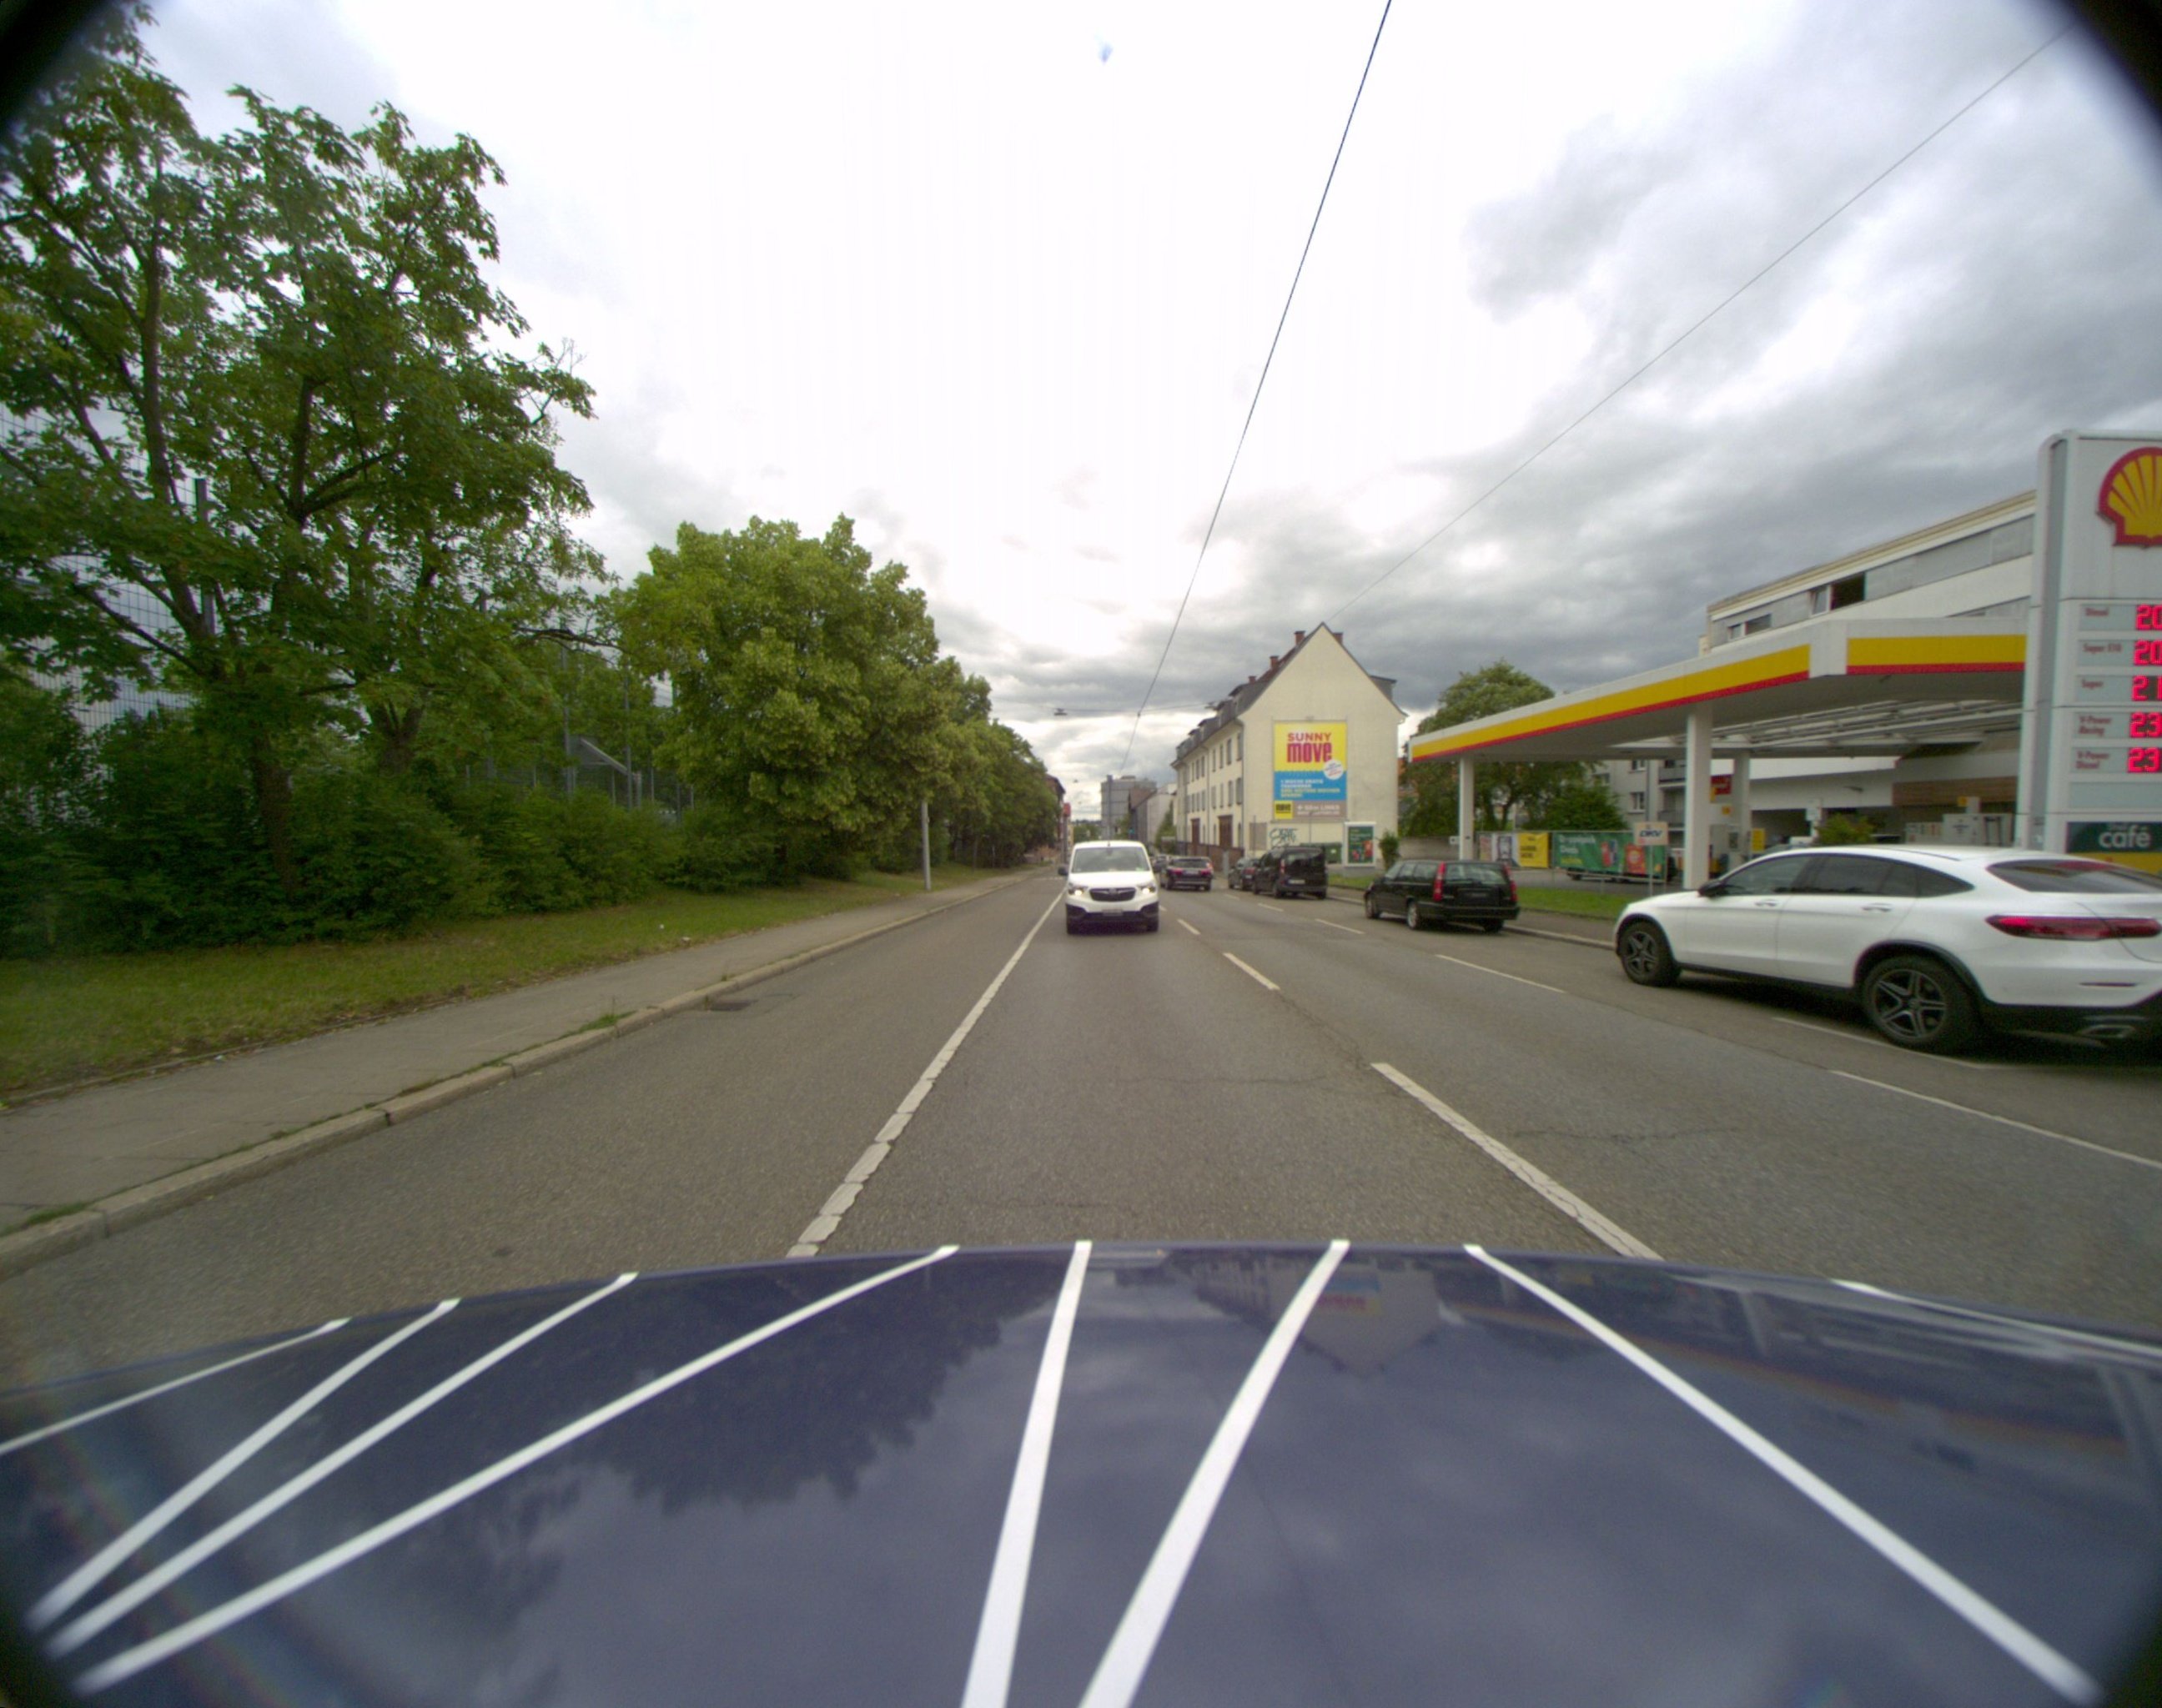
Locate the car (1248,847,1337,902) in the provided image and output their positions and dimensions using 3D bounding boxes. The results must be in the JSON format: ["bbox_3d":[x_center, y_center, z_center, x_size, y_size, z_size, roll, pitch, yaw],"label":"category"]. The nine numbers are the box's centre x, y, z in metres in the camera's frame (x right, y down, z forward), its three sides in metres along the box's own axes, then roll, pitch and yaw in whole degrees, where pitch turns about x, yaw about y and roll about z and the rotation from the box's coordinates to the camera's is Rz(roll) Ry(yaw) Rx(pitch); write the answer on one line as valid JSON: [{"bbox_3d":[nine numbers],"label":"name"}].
[{"bbox_3d":[7.593,0.691,27.794,1.856,1.824,4.701,1,0,-1],"label":"car"}]

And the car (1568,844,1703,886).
[{"bbox_3d":[20.299,0.374,28.072,1.802,1.412,4.417,-1,0,1],"label":"car"}]

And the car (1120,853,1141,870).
[{"bbox_3d":[4.552,0.705,70.642,1.687,1.546,3.719,0,0,0],"label":"car"}]

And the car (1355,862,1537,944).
[{"bbox_3d":[7.493,0.906,16.195,1.802,1.423,4.744,1,0,3],"label":"car"}]

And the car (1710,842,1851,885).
[{"bbox_3d":[25.226,0.324,27.580,1.802,1.412,3.636,-1,0,1],"label":"car"}]

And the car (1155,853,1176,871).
[{"bbox_3d":[7.896,0.733,71.047,1.731,1.590,4.502,0,0,3],"label":"car"}]

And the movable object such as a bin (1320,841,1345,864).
[{"bbox_3d":[16.665,-0.097,50.345,1.268,1.529,1.104,1,0,1],"label":"movable object such as a bin"}]

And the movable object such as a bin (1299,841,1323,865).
[{"bbox_3d":[15.247,-0.069,50.403,1.268,1.529,1.104,1,0,1],"label":"movable object such as a bin"}]

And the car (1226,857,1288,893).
[{"bbox_3d":[7.616,0.865,33.208,1.795,1.441,4.218,1,0,1],"label":"car"}]

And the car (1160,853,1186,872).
[{"bbox_3d":[7.938,0.731,65.934,1.731,1.549,4.081,2,0,0],"label":"car"}]

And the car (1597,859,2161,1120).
[{"bbox_3d":[7.269,0.850,7.000,1.920,1.568,4.700,0,0,1],"label":"car"}]

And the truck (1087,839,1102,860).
[{"bbox_3d":[2.414,-0.740,132.448,2.545,3.478,8.522,0,0,1],"label":"truck"}]

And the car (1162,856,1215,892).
[{"bbox_3d":[4.583,0.817,32.929,1.782,1.457,4.499,0,0,1],"label":"car"}]

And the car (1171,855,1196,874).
[{"bbox_3d":[8.193,0.801,60.987,1.551,1.466,3.604,0,0,1],"label":"car"}]

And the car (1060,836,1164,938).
[{"bbox_3d":[0.616,0.656,15.975,1.850,1.831,4.285,-1,-1,1],"label":"car"}]

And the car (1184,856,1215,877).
[{"bbox_3d":[7.976,0.815,51.346,1.623,1.417,3.665,0,0,1],"label":"car"}]
